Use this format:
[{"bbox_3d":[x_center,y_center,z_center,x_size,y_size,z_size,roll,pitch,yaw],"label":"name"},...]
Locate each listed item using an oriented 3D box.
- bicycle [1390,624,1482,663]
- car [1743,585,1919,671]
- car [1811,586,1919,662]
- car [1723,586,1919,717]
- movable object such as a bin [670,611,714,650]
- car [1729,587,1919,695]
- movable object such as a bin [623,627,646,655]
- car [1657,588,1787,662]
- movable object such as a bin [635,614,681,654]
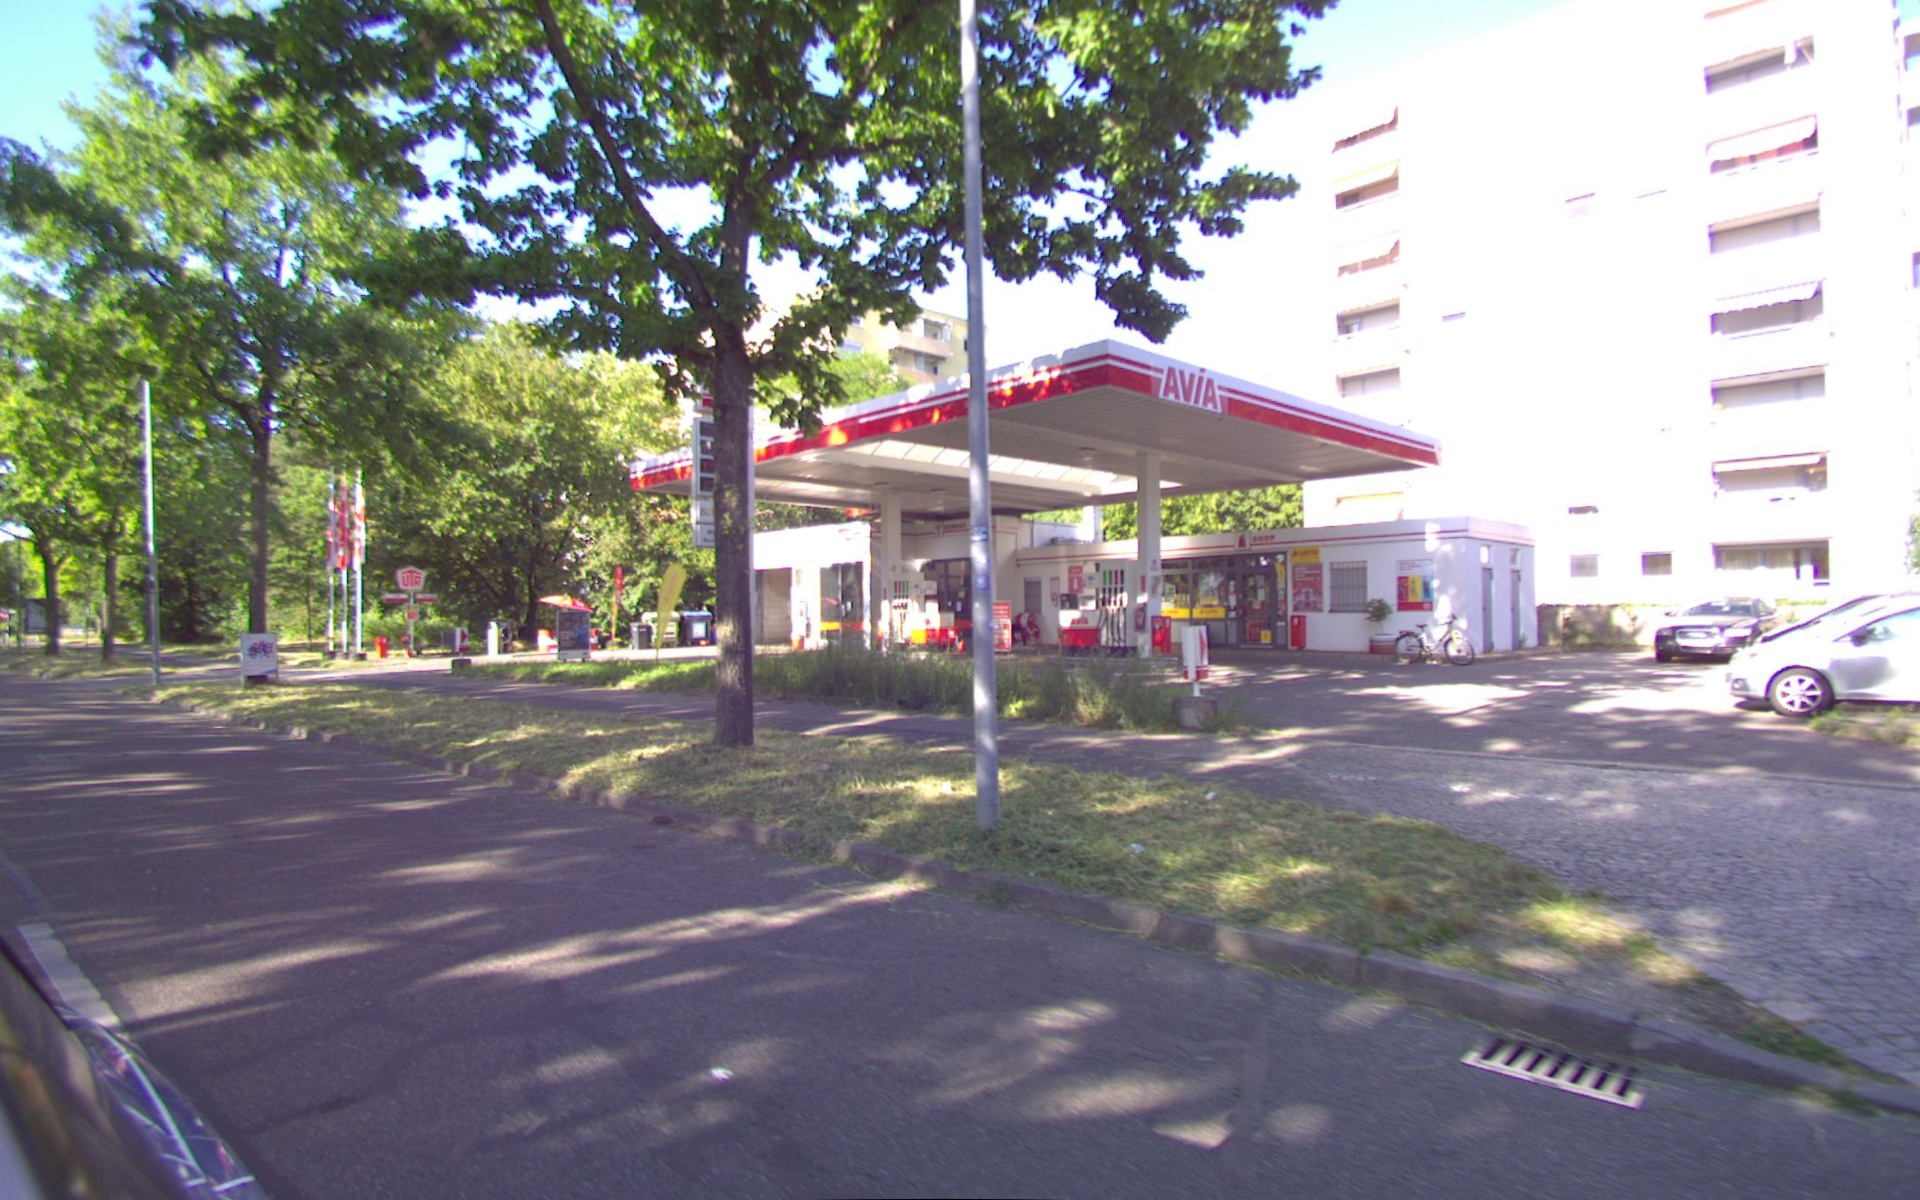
[{"bbox_3d":[10.598,0.954,22.573,0.609,0.813,1.784,0,-1,-34],"label":"bicycle"},{"bbox_3d":[15.715,0.471,17.503,1.405,1.378,3.209,-2,0,-41],"label":"car"},{"bbox_3d":[18.291,0.443,20.248,3.156,1.327,1.461,-2,0,-41],"label":"car"},{"bbox_3d":[11.271,0.569,11.832,1.527,1.433,3.492,-2,0,-41],"label":"car"},{"bbox_3d":[-11.015,1.243,41.553,1.163,1.553,1.290,-2,0,41],"label":"movable object such as a bin"},{"bbox_3d":[12.822,0.541,14.015,1.405,1.378,3.209,-2,0,-41],"label":"car"},{"bbox_3d":[-12.800,1.608,39.764,0.768,1.094,0.562,-2,-2,42],"label":"movable object such as a bin"},{"bbox_3d":[16.381,0.503,21.711,3.156,1.411,1.587,-2,0,-41],"label":"car"},{"bbox_3d":[-12.061,1.347,40.410,1.267,1.553,1.290,-2,-2,42],"label":"movable object such as a bin"}]
